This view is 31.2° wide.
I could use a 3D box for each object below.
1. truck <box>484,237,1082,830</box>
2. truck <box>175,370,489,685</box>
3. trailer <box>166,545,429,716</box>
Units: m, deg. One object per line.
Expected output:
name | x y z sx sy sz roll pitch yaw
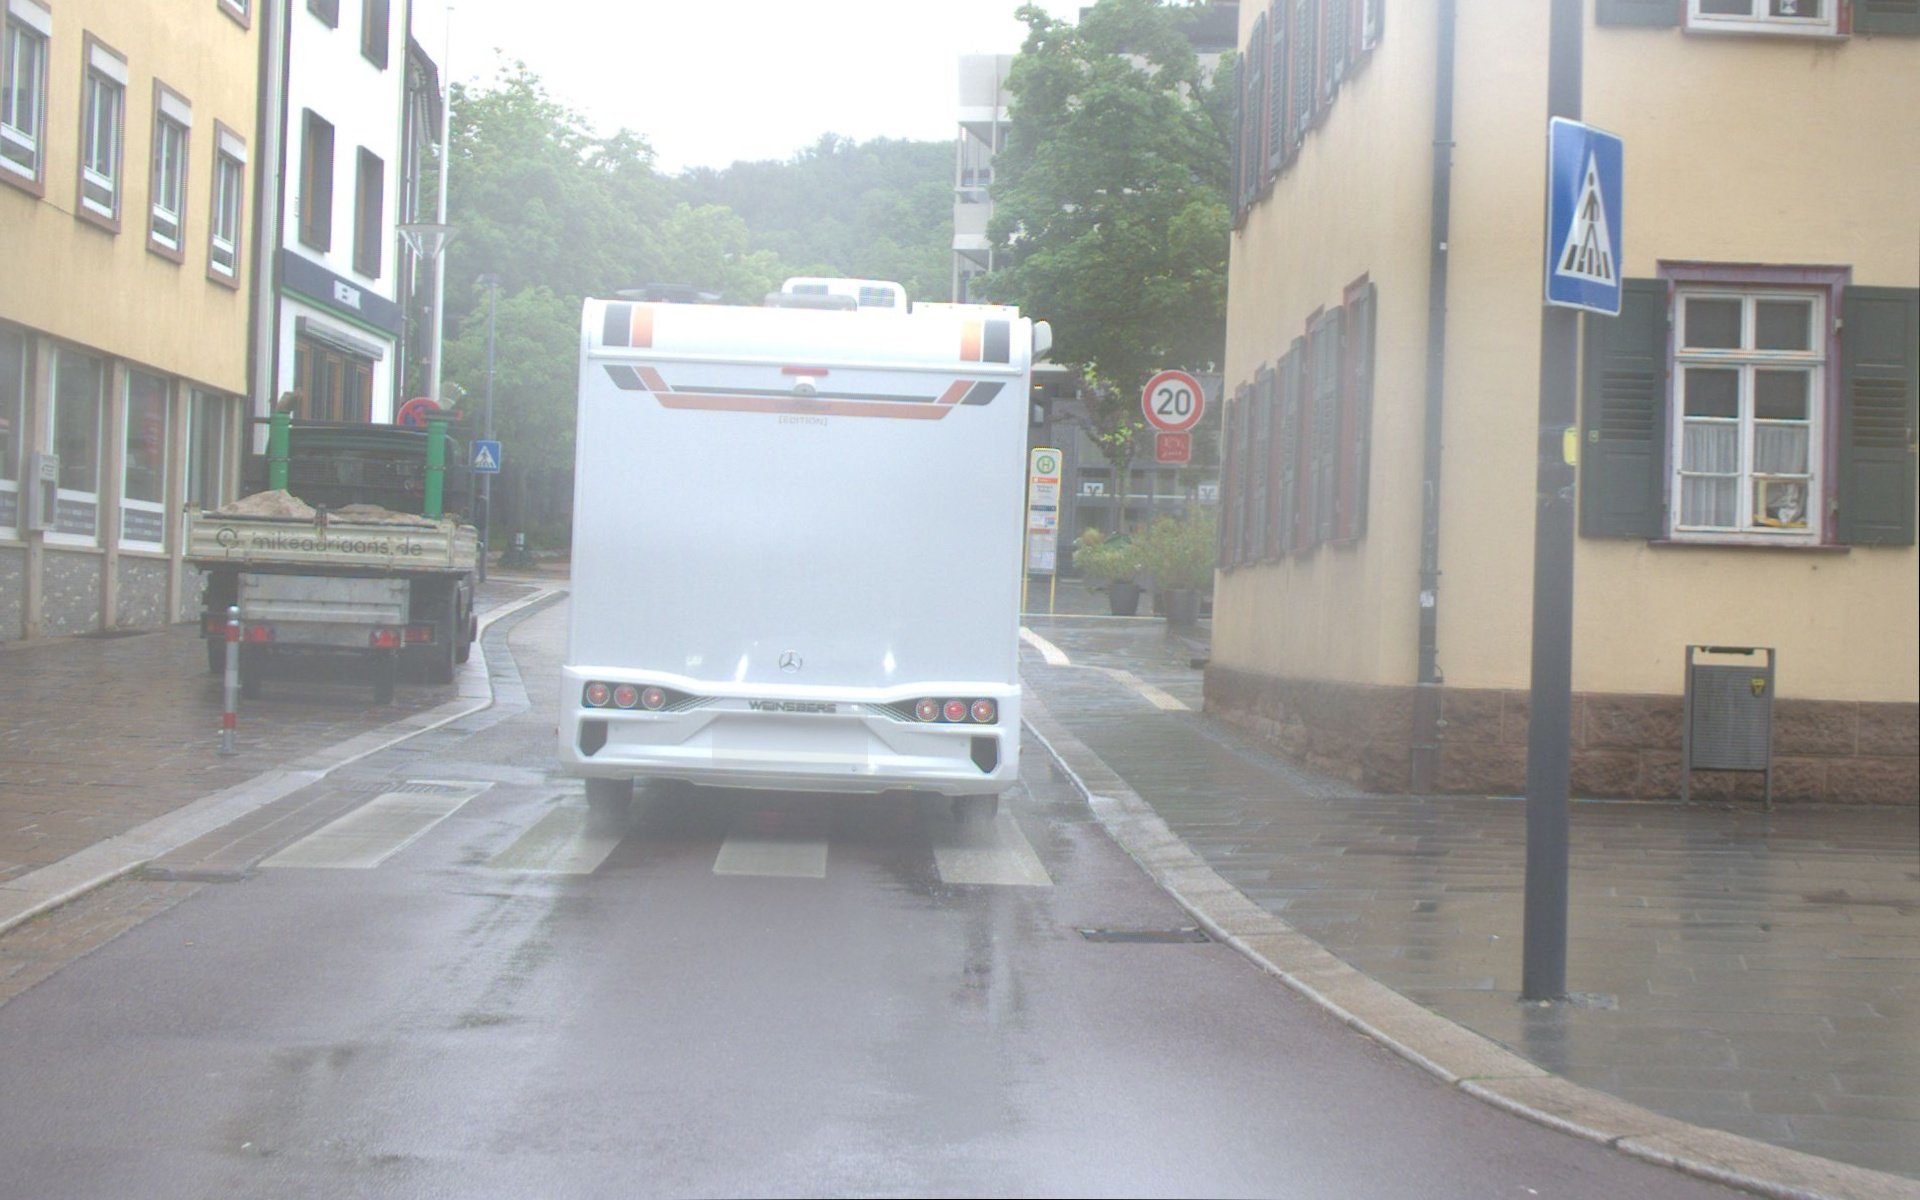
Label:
truck | -0.983 -0.342 19.418 2.805 2.787 6.107 1 1 -3
truck | -5.751 -0.790 32.295 2.399 2.585 6.485 2 3 -7
trailer | -5.262 0.208 27.619 1.852 1.120 3.021 2 3 -7
